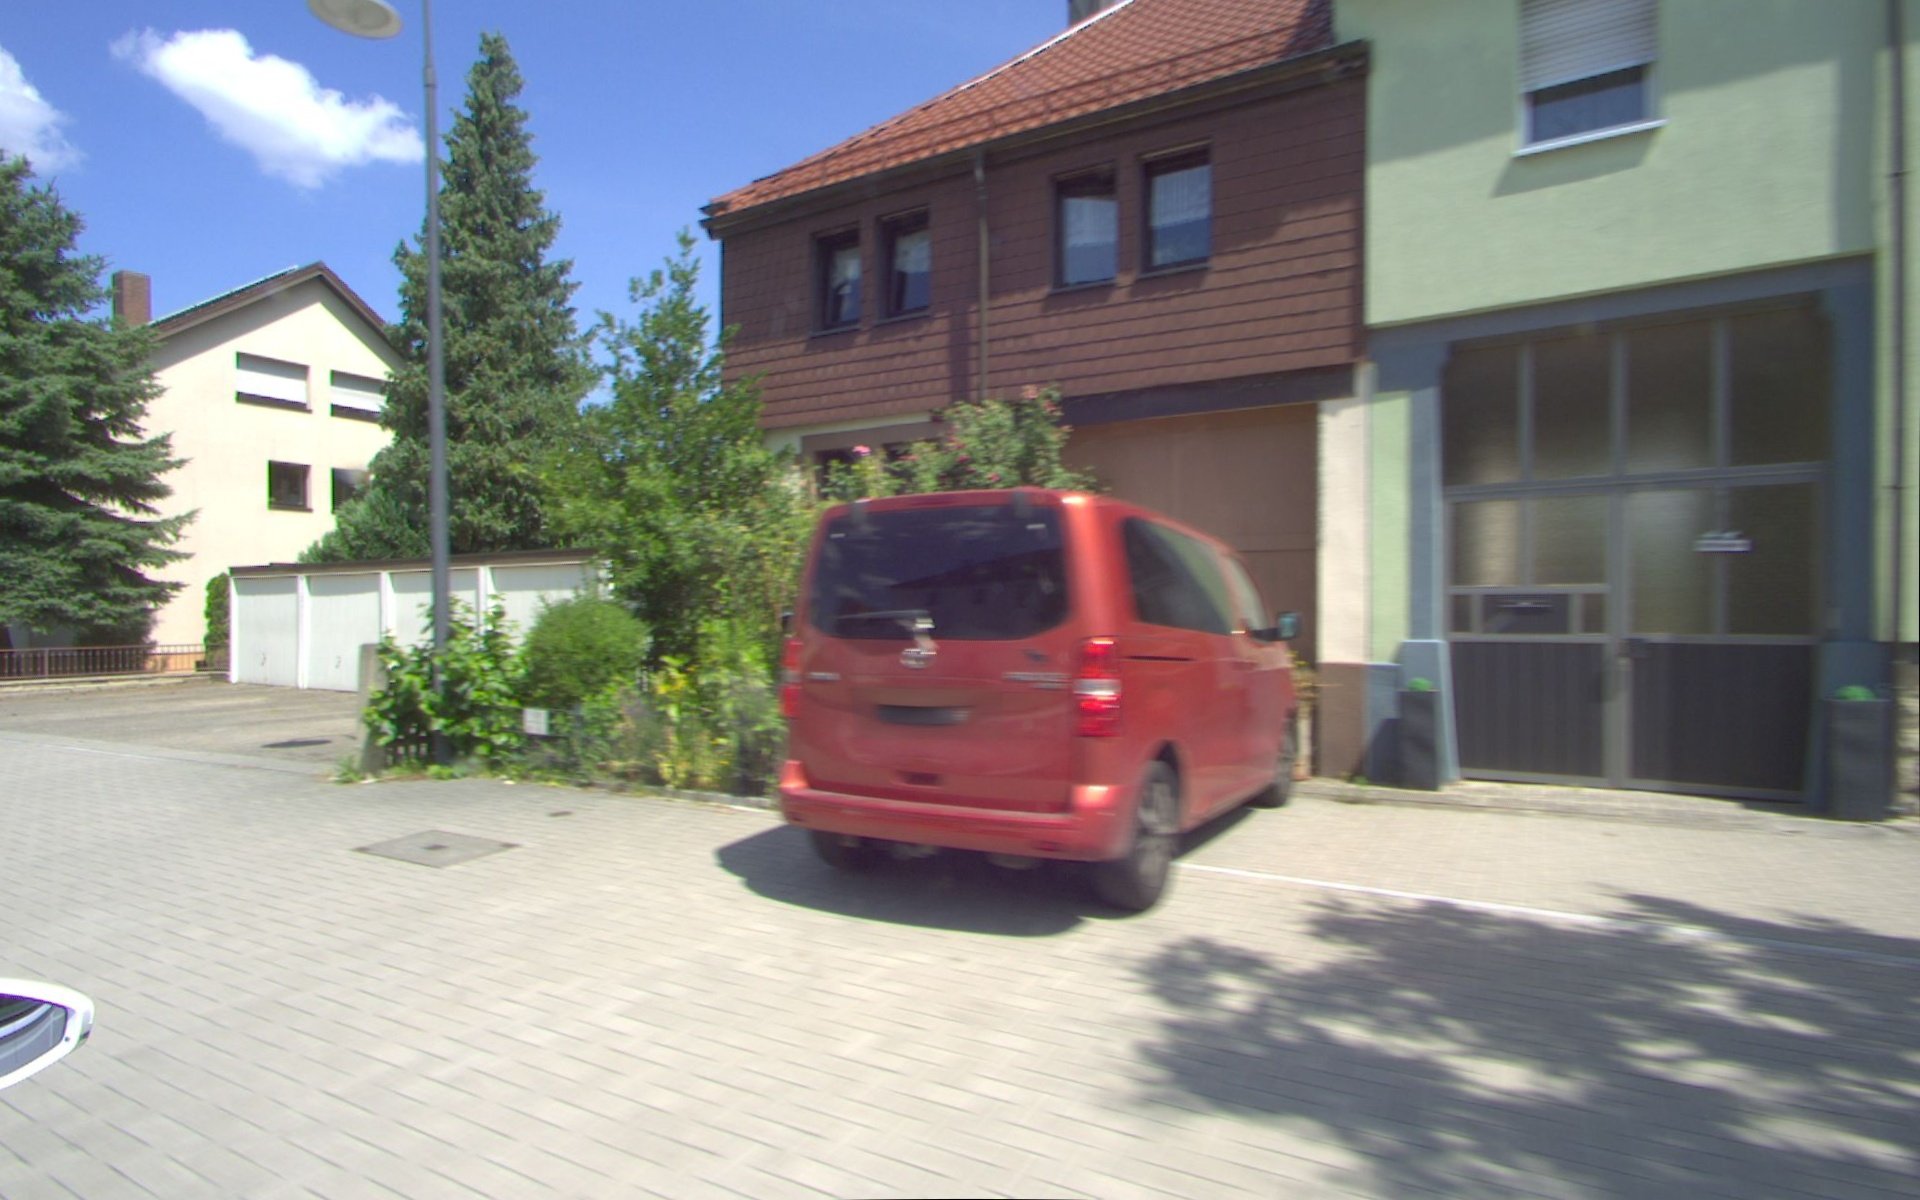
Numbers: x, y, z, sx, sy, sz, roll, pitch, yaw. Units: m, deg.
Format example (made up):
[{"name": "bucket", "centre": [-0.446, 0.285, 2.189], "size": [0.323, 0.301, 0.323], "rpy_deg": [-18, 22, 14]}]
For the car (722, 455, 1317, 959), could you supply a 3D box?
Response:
[{"name": "car", "centre": [0.829, 0.501, 6.332], "size": [1.990, 1.917, 4.616], "rpy_deg": [-1, -2, 29]}]
